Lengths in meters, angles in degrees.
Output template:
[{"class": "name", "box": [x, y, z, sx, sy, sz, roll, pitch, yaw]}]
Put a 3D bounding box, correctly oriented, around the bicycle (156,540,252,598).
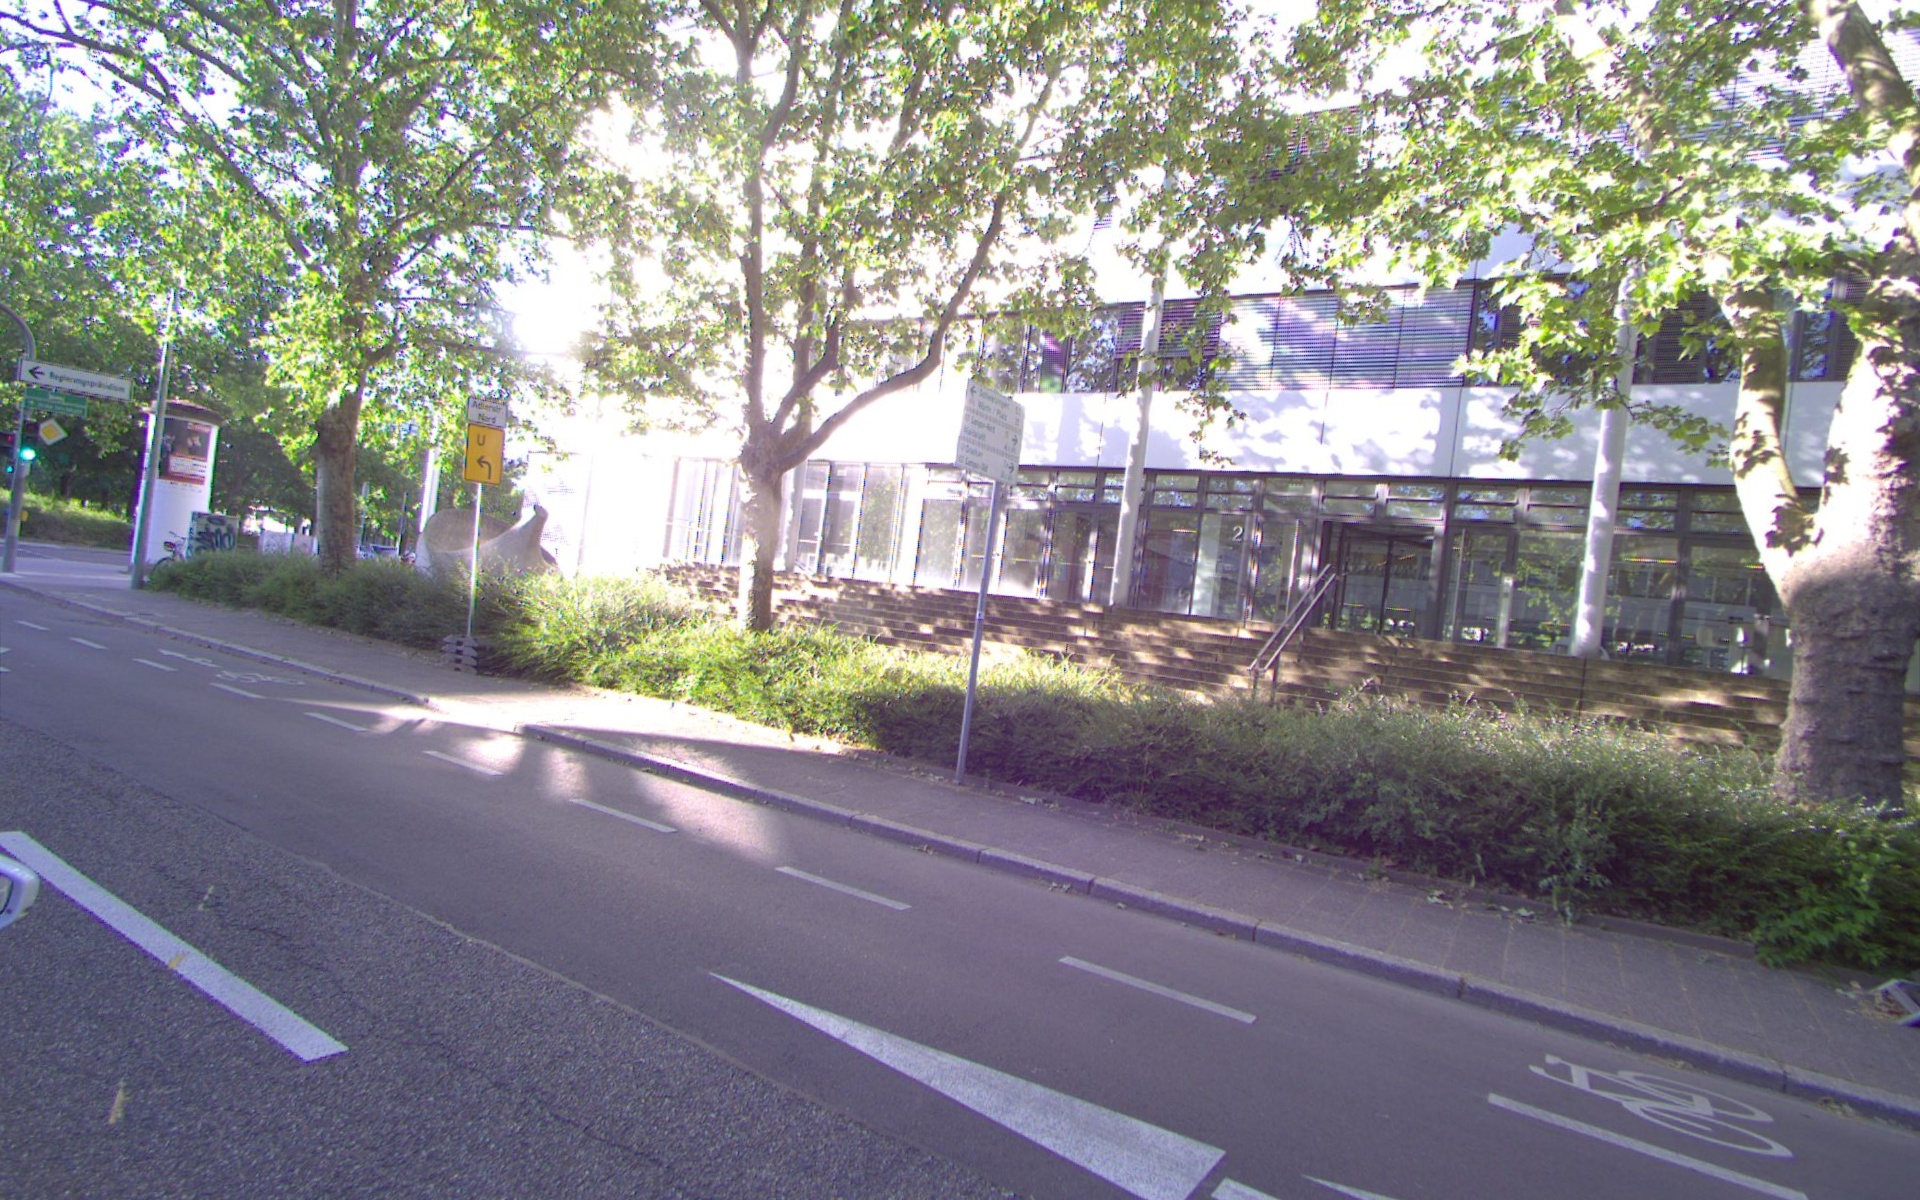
[{"class": "bicycle", "box": [-15.928, -0.635, 21.260, 0.631, 1.040, 1.887, 7, -2, -5]}]
